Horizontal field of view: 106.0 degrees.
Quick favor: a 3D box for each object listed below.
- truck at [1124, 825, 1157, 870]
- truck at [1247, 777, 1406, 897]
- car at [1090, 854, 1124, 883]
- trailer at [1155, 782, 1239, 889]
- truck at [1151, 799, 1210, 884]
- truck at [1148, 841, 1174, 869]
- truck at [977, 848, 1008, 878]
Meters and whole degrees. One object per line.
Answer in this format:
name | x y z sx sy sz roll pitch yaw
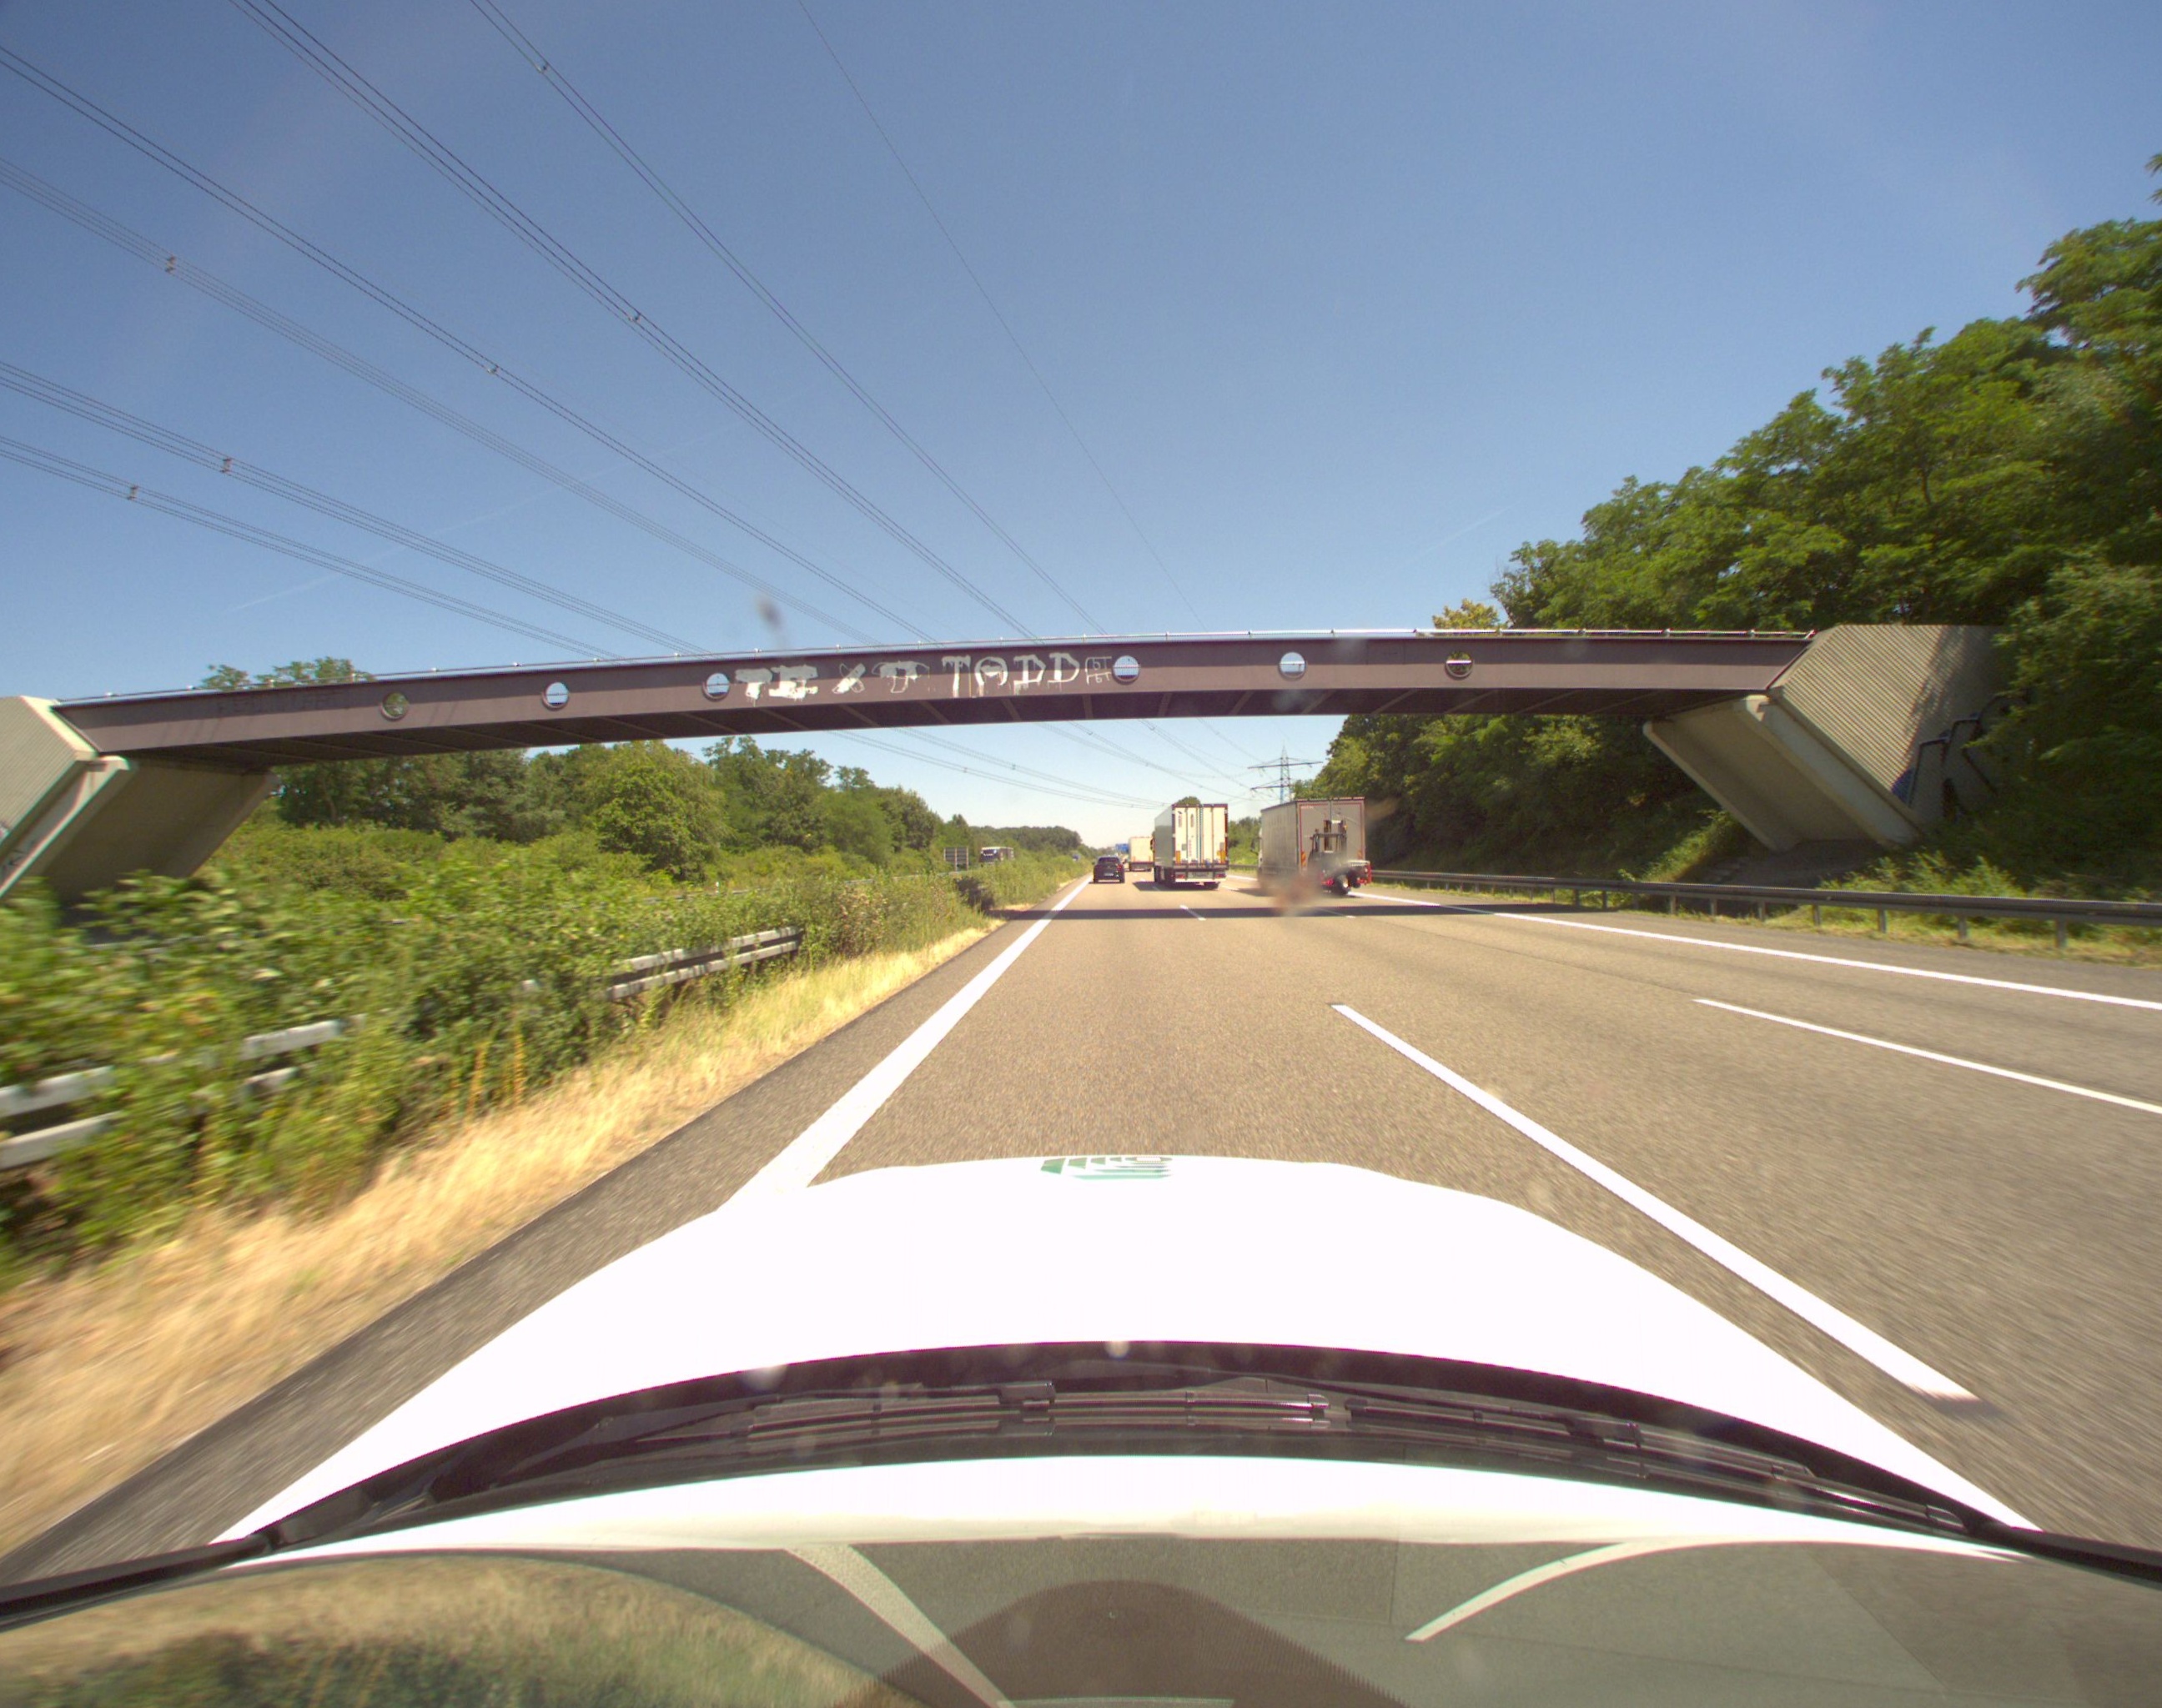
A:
truck | 7.001 -0.708 97.518 3.499 5.166 10.261 0 0 1
truck | 9.921 -0.546 34.775 3.558 4.245 11.655 0 -1 2
car | 1.623 0.891 51.925 1.987 1.772 4.000 -2 0 0
trailer | 5.855 -0.769 43.331 3.075 4.885 12.261 0 -1 2
truck | 6.033 -0.698 50.397 3.076 4.885 6.599 0 -1 1
truck | 13.638 0.199 140.653 3.499 4.492 13.254 0 0 2
truck | -12.822 1.300 118.804 2.747 4.122 10.221 -2 -1 2
